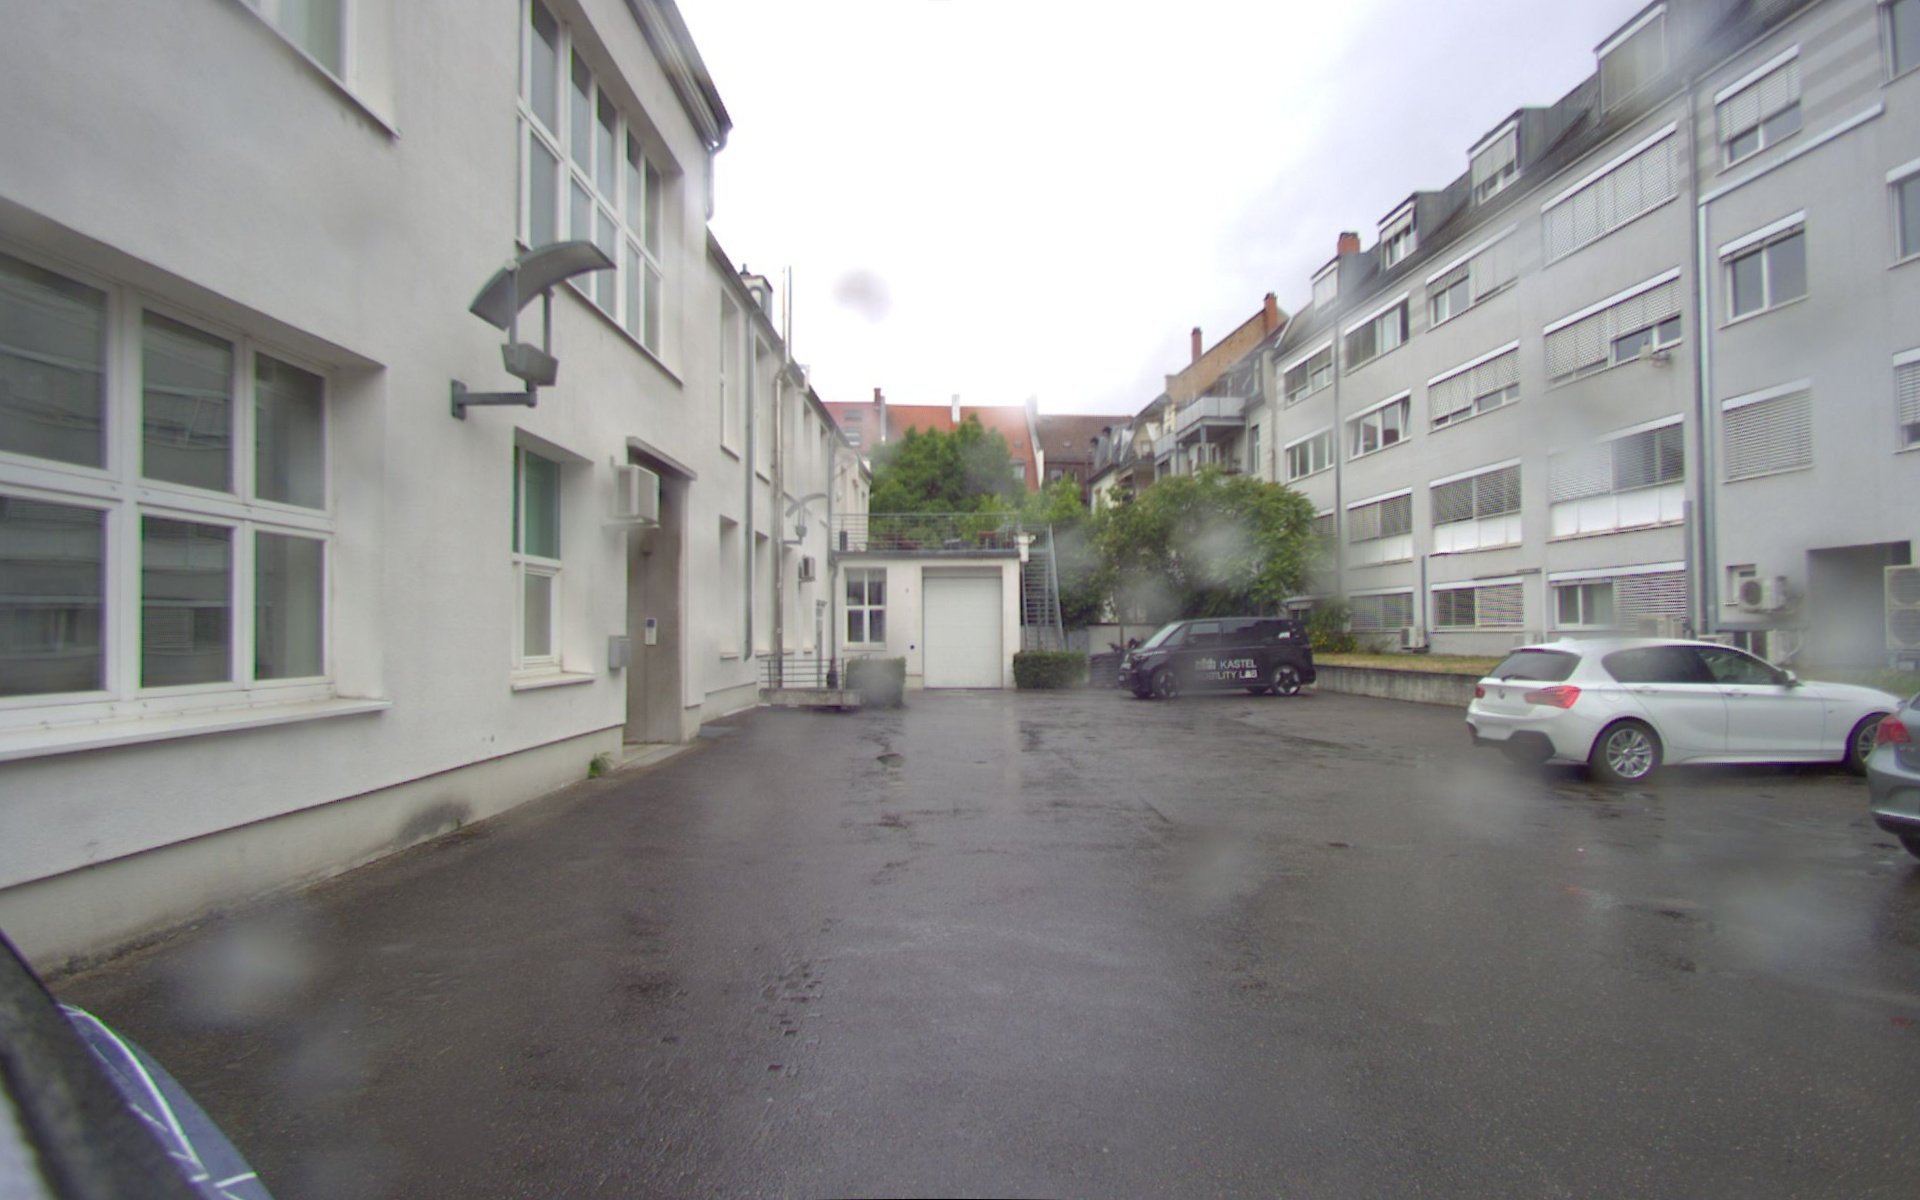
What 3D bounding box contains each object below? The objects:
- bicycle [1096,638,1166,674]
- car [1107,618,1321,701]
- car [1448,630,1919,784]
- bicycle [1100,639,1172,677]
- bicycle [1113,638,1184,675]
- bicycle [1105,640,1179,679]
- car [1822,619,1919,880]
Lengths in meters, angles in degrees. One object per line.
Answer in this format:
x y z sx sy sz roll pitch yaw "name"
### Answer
5.907 1.933 34.996 2.289 1.195 0.643 -1 0 2 "bicycle"
6.098 1.428 24.608 4.560 1.851 1.991 -1 -3 -6 "car"
7.673 1.061 10.753 4.091 1.444 1.754 0 -2 -3 "car"
5.858 1.937 33.829 2.289 1.195 0.643 -1 0 2 "bicycle"
6.410 1.928 34.476 2.289 1.195 0.643 -1 0 2 "bicycle"
5.928 1.939 33.029 2.289 1.195 0.643 -1 0 2 "bicycle"
7.572 0.824 5.556 4.117 1.495 1.823 0 -3 -3 "car"
